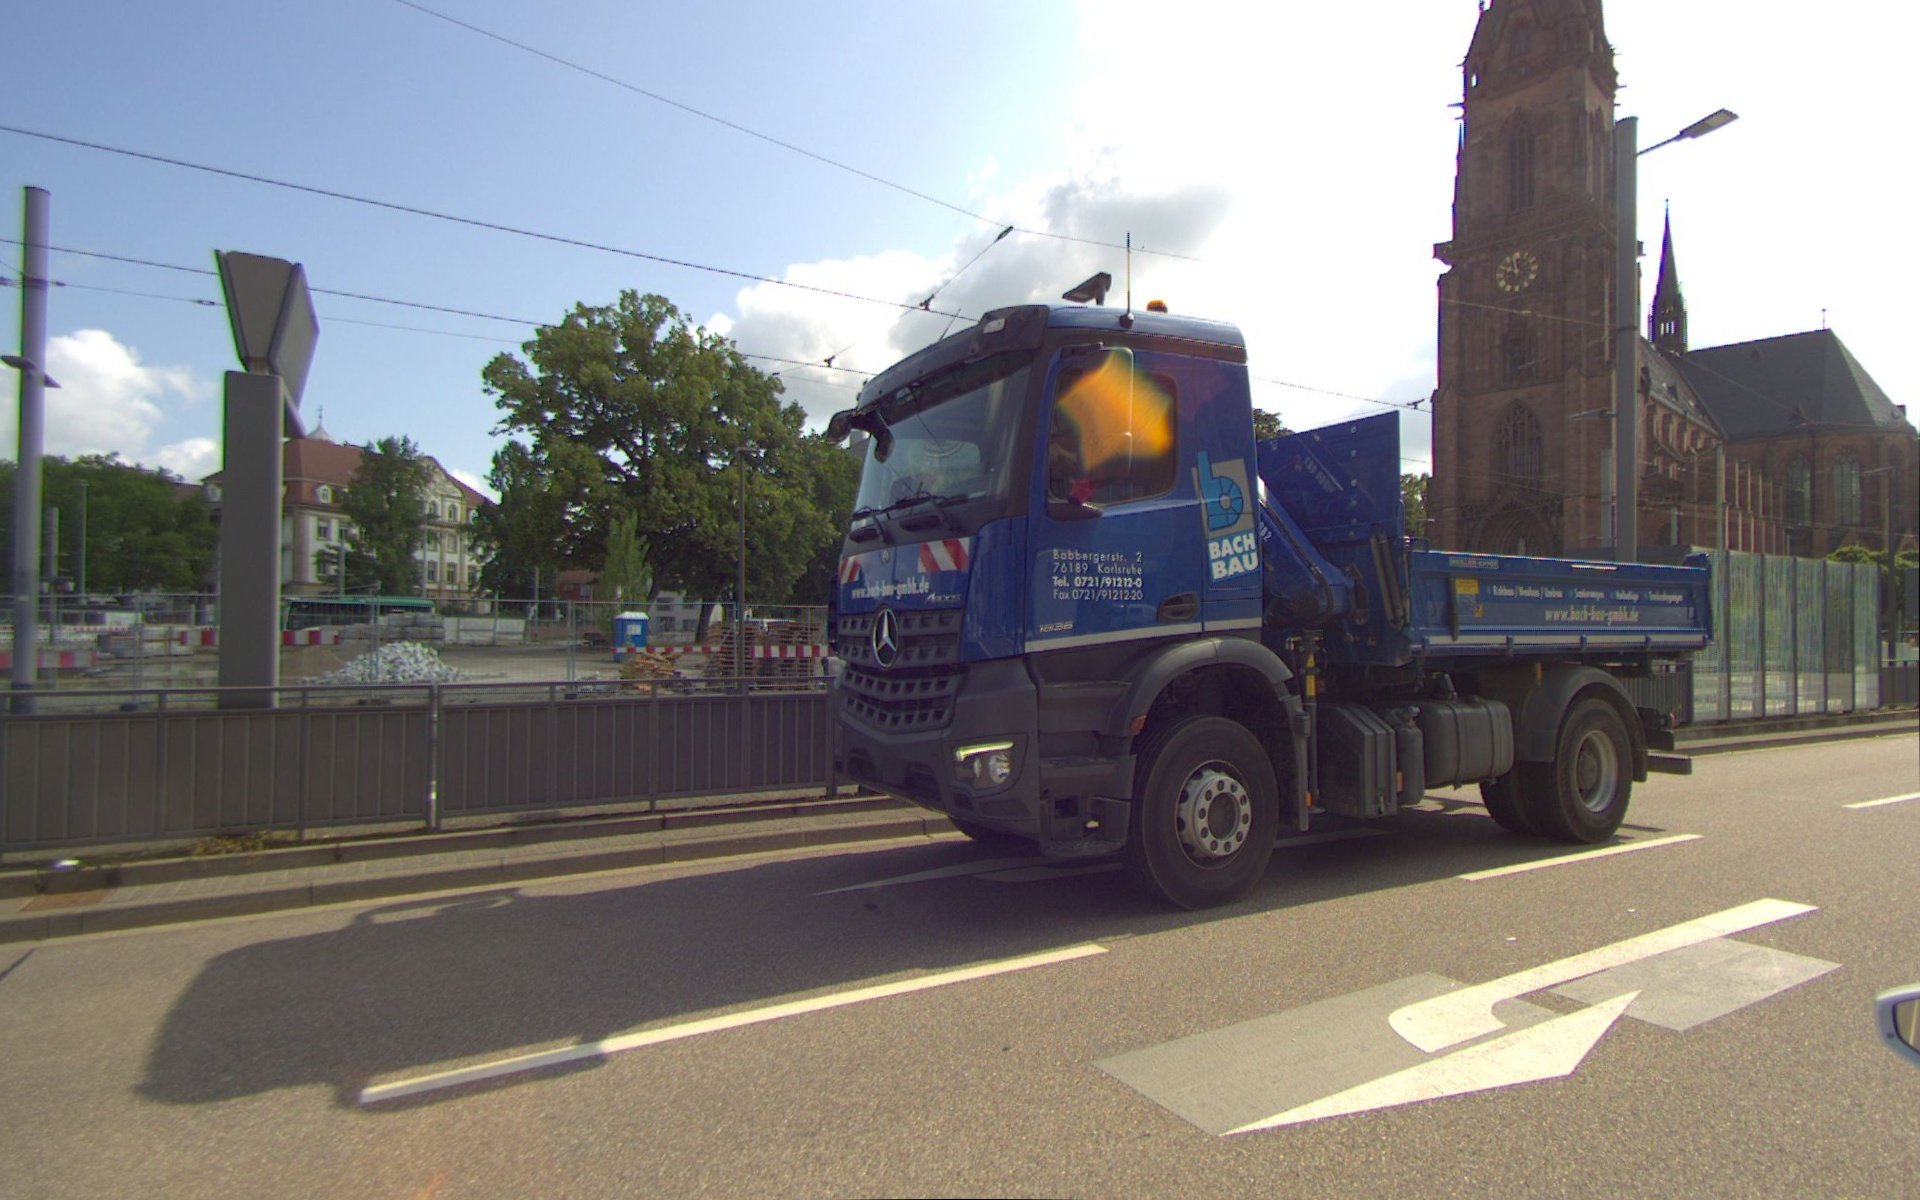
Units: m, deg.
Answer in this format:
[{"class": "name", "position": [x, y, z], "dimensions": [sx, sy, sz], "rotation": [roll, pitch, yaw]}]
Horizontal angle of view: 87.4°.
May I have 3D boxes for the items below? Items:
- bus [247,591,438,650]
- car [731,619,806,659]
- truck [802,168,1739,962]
[{"class": "bus", "position": [-40.405, 1.423, 66.620], "dimensions": [2.905, 3.554, 12.262], "rotation": [0, -2, 14]}, {"class": "car", "position": [-10.490, 2.185, 55.354], "dimensions": [1.963, 2.040, 3.997], "rotation": [1, -3, 27]}, {"class": "truck", "position": [2.720, -0.074, 7.604], "dimensions": [7.362, 3.696, 2.452], "rotation": [1, -2, -30]}]
